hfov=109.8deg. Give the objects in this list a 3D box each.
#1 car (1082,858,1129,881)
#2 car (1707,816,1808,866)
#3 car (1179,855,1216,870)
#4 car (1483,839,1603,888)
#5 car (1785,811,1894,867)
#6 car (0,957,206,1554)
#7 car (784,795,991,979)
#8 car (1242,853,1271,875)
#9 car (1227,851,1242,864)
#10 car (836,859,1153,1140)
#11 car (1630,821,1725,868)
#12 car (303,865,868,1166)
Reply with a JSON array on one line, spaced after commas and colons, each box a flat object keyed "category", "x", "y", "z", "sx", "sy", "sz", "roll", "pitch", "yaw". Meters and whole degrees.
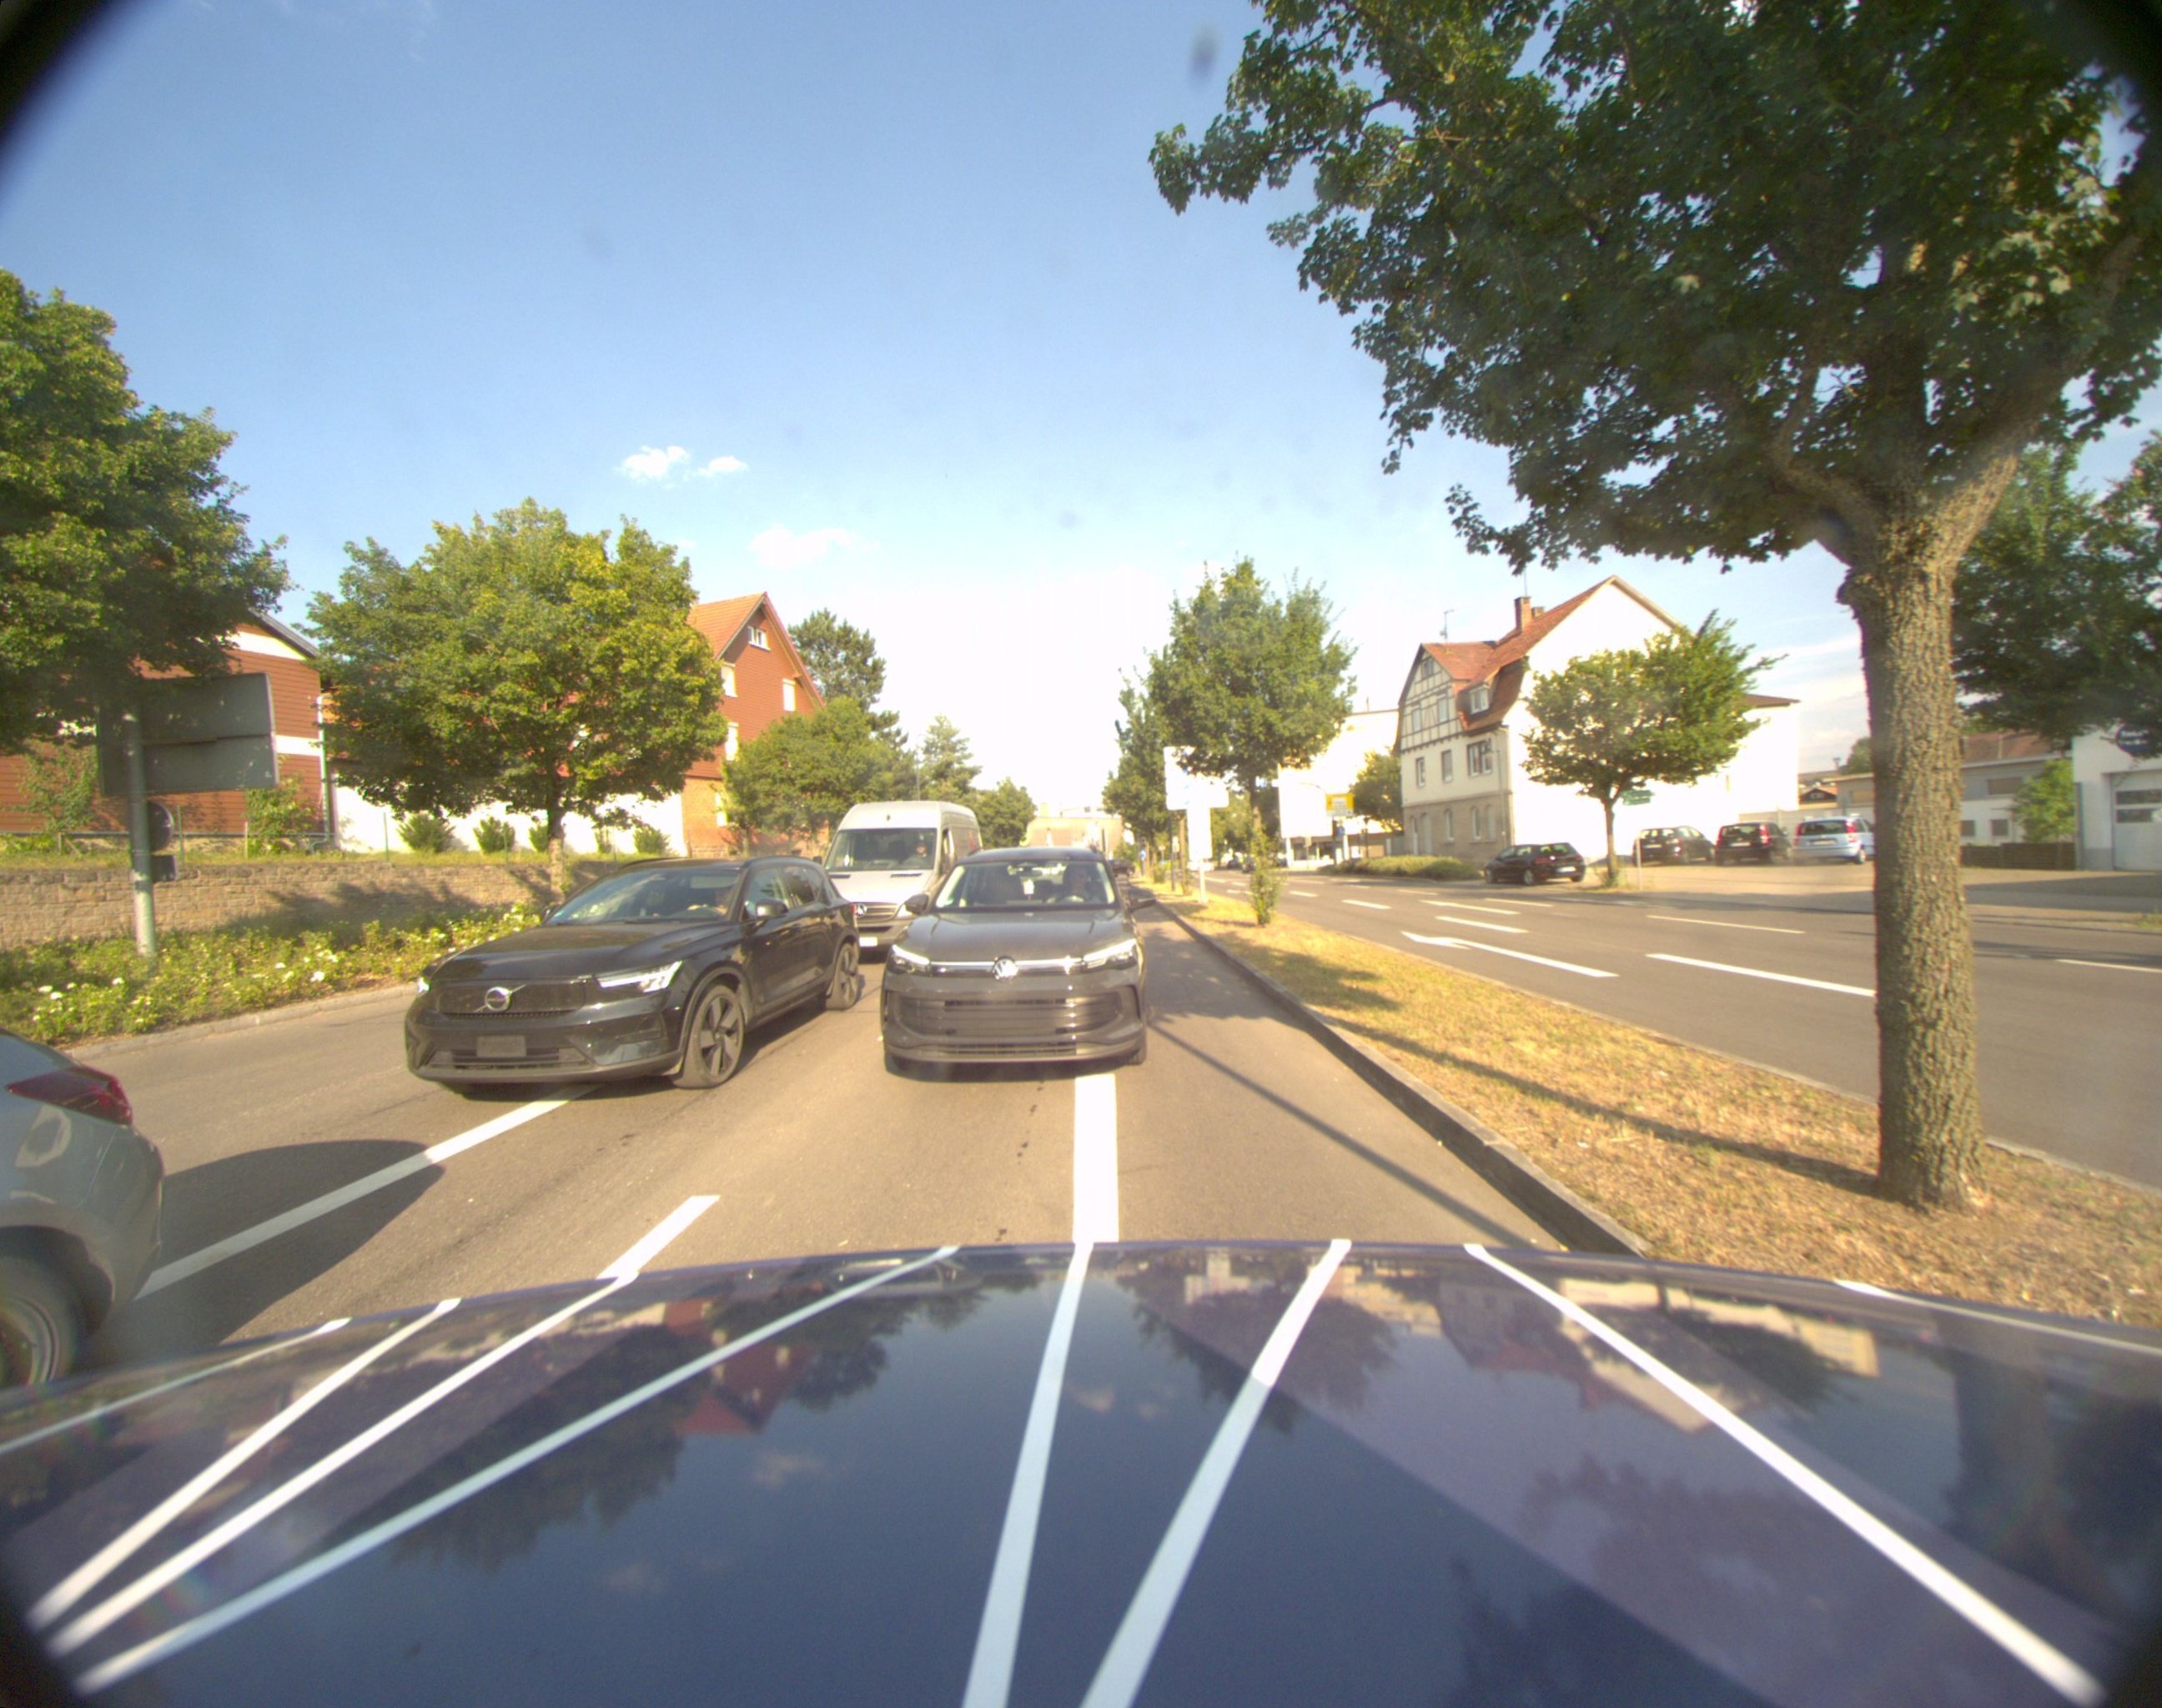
[{"category": "car", "x": 2.079, "y": 1.282, "z": 62.995, "sx": 1.782, "sy": 1.664, "sz": 4.008, "roll": -2, "pitch": 1, "yaw": 40}, {"category": "car", "x": 24.660, "y": -0.479, "z": 27.663, "sx": 3.830, "sy": 1.493, "sz": 1.816, "roll": -5, "pitch": 0, "yaw": -35}, {"category": "car", "x": 12.834, "y": 0.901, "z": 83.363, "sx": 1.778, "sy": 1.460, "sz": 4.383, "roll": -2, "pitch": 1, "yaw": 43}, {"category": "car", "x": 16.036, "y": 0.289, "z": 26.625, "sx": 1.818, "sy": 1.442, "sz": 3.825, "roll": -5, "pitch": 0, "yaw": 1}, {"category": "car", "x": 24.882, "y": -0.493, "z": 24.897, "sx": 3.830, "sy": 1.493, "sz": 1.816, "roll": -5, "pitch": 0, "yaw": -35}, {"category": "car", "x": -3.612, "y": 1.062, "z": 0.189, "sx": 1.766, "sy": 1.445, "sz": 4.318, "roll": -1, "pitch": 0, "yaw": 0}, {"category": "car", "x": -3.070, "y": 0.455, "z": 13.674, "sx": 1.992, "sy": 2.554, "sz": 6.046, "roll": -1, "pitch": 0, "yaw": 2}, {"category": "car", "x": 15.097, "y": 0.840, "z": 65.471, "sx": 1.781, "sy": 1.683, "sz": 4.001, "roll": -2, "pitch": 0, "yaw": 4}, {"category": "car", "x": 21.821, "y": 0.442, "z": 108.199, "sx": 1.779, "sy": 1.683, "sz": 4.004, "roll": -2, "pitch": 0, "yaw": 15}, {"category": "car", "x": -0.450, "y": 0.875, "z": 6.626, "sx": 1.845, "sy": 1.600, "sz": 4.318, "roll": -1, "pitch": 0, "yaw": 2}, {"category": "car", "x": 23.382, "y": -0.381, "z": 29.759, "sx": 3.830, "sy": 1.493, "sz": 1.816, "roll": -5, "pitch": 0, "yaw": -35}, {"category": "car", "x": -3.398, "y": 0.949, "z": 6.437, "sx": 1.845, "sy": 1.600, "sz": 4.318, "roll": -1, "pitch": 0, "yaw": 2}]
